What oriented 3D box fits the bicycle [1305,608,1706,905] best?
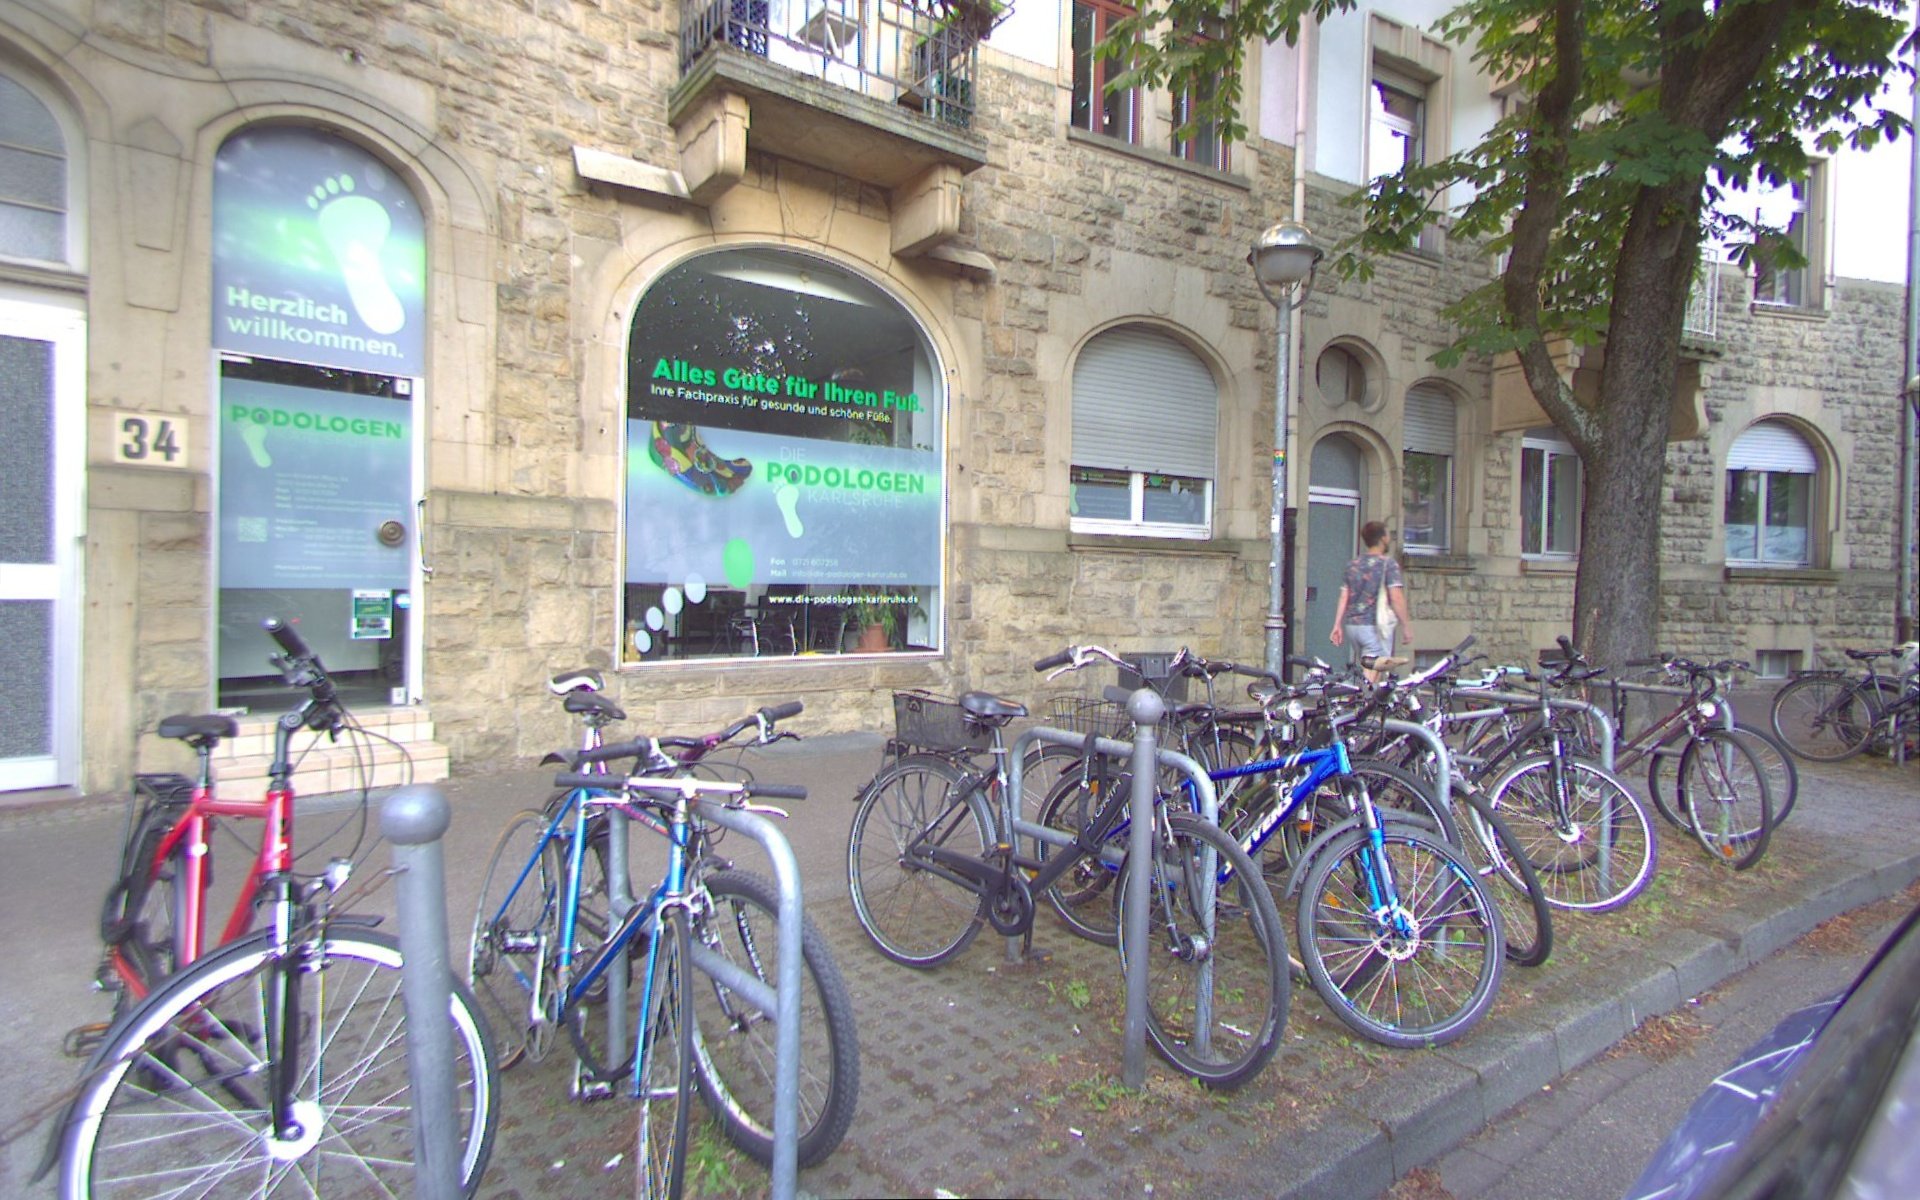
[{"bbox_3d":[2.559,0.669,4.980,0.476,1.142,1.678,8,-1,-26],"label":"bicycle"}]

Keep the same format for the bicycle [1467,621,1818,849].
[{"bbox_3d":[4.016,0.720,6.101,0.477,1.091,1.676,1,2,-34],"label":"bicycle"}]

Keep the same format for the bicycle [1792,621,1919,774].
[{"bbox_3d":[7.700,0.781,7.821,0.482,1.154,1.887,5,-2,-30],"label":"bicycle"}]

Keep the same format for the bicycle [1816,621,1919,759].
[{"bbox_3d":[8.434,0.786,8.462,0.563,1.118,1.853,0,2,-40],"label":"bicycle"}]

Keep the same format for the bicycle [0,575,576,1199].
[{"bbox_3d":[-1.503,0.597,2.082,0.688,1.252,1.789,0,2,-43],"label":"bicycle"}]

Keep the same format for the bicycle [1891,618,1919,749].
[{"bbox_3d":[8.986,0.784,8.407,0.410,1.159,1.860,1,2,-17],"label":"bicycle"}]

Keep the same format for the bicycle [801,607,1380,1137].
[{"bbox_3d":[0.290,0.655,3.308,0.630,1.177,1.887,0,2,-43],"label":"bicycle"}]

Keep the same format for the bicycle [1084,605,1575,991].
[{"bbox_3d":[1.412,0.652,4.277,0.691,1.177,1.893,1,2,-33],"label":"bicycle"}]

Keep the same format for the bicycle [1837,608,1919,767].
[{"bbox_3d":[8.117,0.737,7.926,0.482,1.231,1.890,-5,3,-17],"label":"bicycle"}]

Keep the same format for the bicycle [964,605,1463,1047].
[{"bbox_3d":[0.806,0.649,3.839,0.628,1.177,1.893,1,2,-33],"label":"bicycle"}]

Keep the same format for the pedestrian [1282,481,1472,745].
[{"bbox_3d":[3.598,0.091,8.772,1.039,2.111,1.015,1,2,-31],"label":"pedestrian"}]

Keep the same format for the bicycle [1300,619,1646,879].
[{"bbox_3d":[2.649,0.690,5.444,0.476,1.091,1.678,1,2,-27],"label":"bicycle"}]

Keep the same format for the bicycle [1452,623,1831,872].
[{"bbox_3d":[3.705,0.722,5.659,0.477,1.091,1.676,1,2,-34],"label":"bicycle"}]

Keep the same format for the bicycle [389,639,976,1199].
[{"bbox_3d":[-0.840,0.696,2.616,0.688,1.051,1.803,0,2,-43],"label":"bicycle"}]
